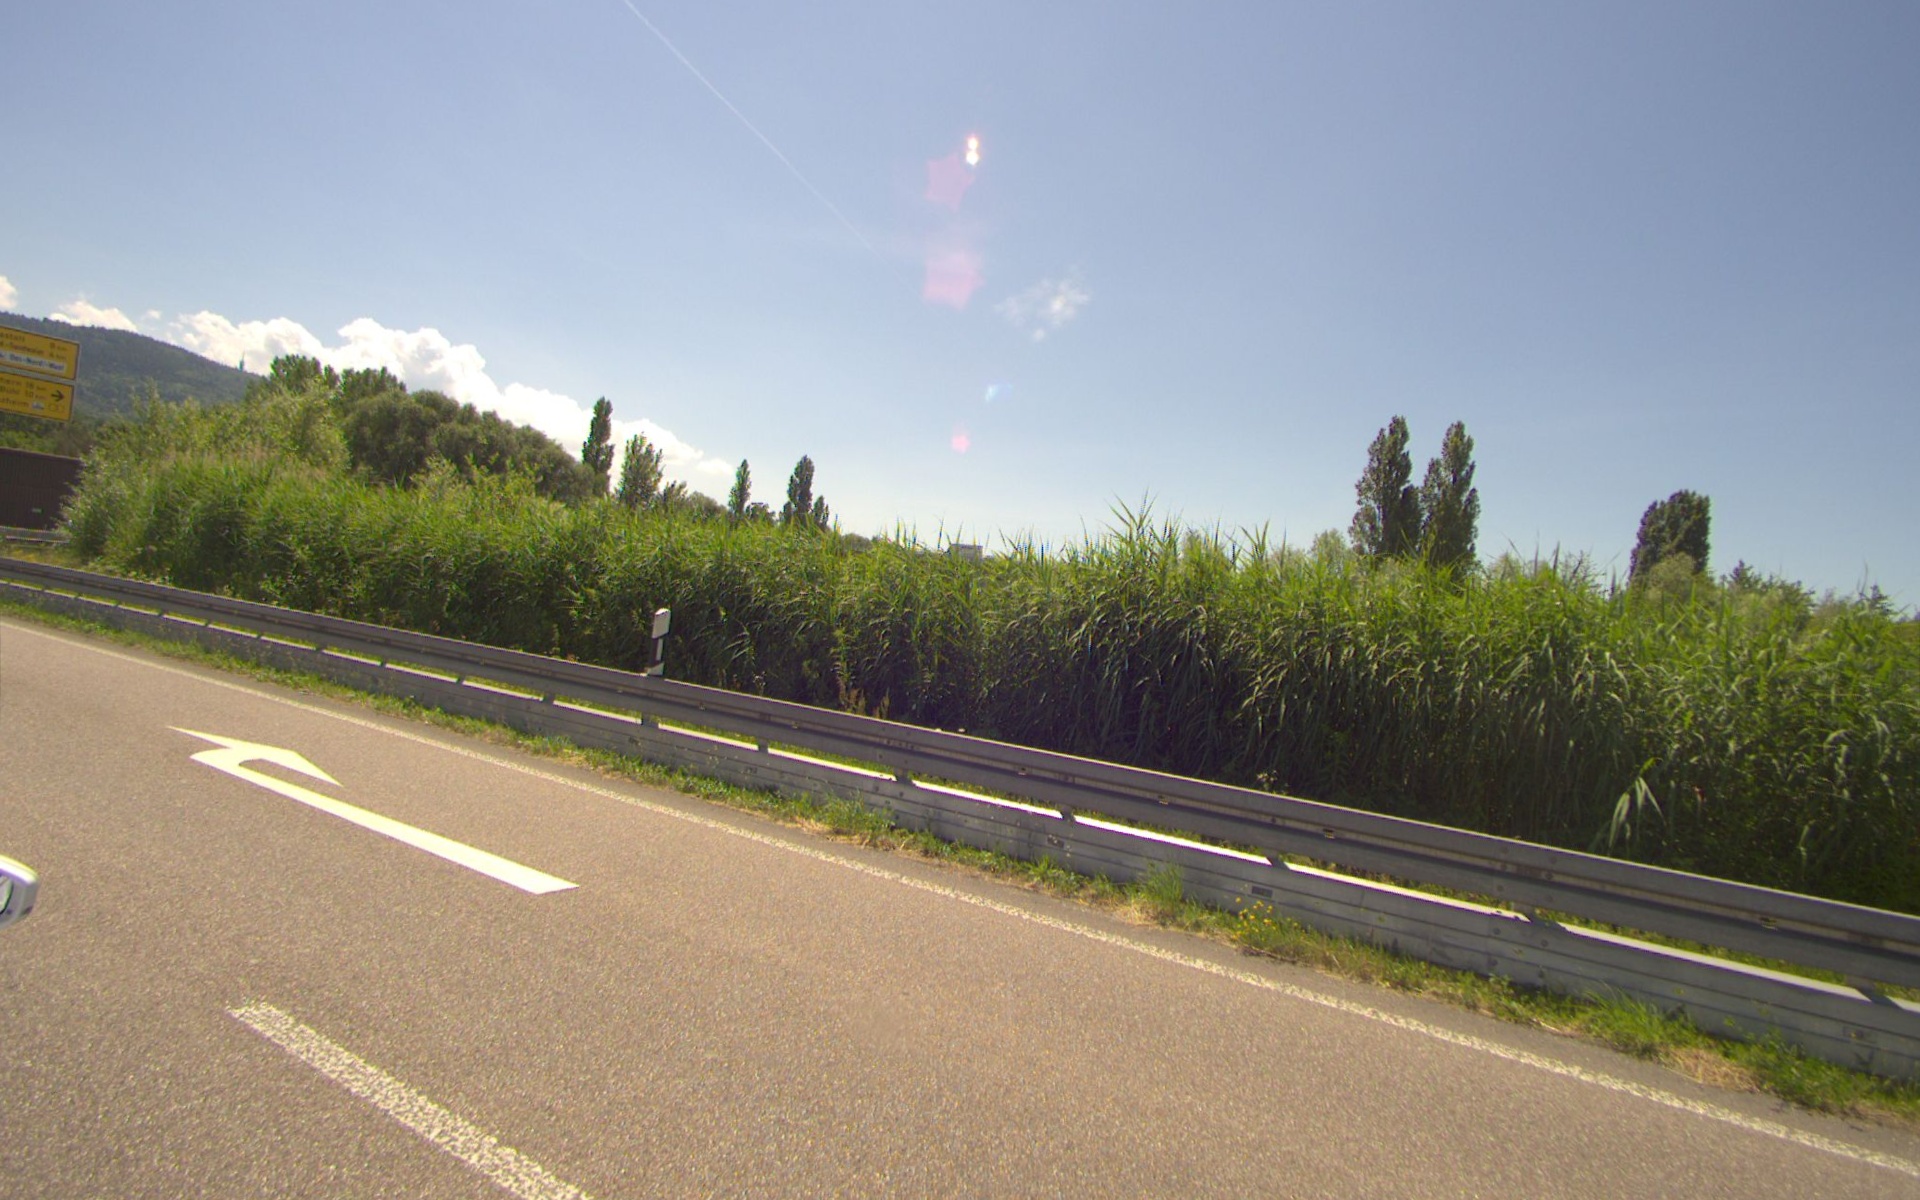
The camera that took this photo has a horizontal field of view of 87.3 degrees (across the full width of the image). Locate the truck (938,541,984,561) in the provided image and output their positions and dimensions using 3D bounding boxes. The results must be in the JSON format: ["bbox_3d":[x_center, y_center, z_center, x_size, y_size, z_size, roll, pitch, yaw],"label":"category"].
[{"bbox_3d":[0.145,-7.561,154.588,6.553,2.255,2.623,6,-1,32],"label":"truck"}]
